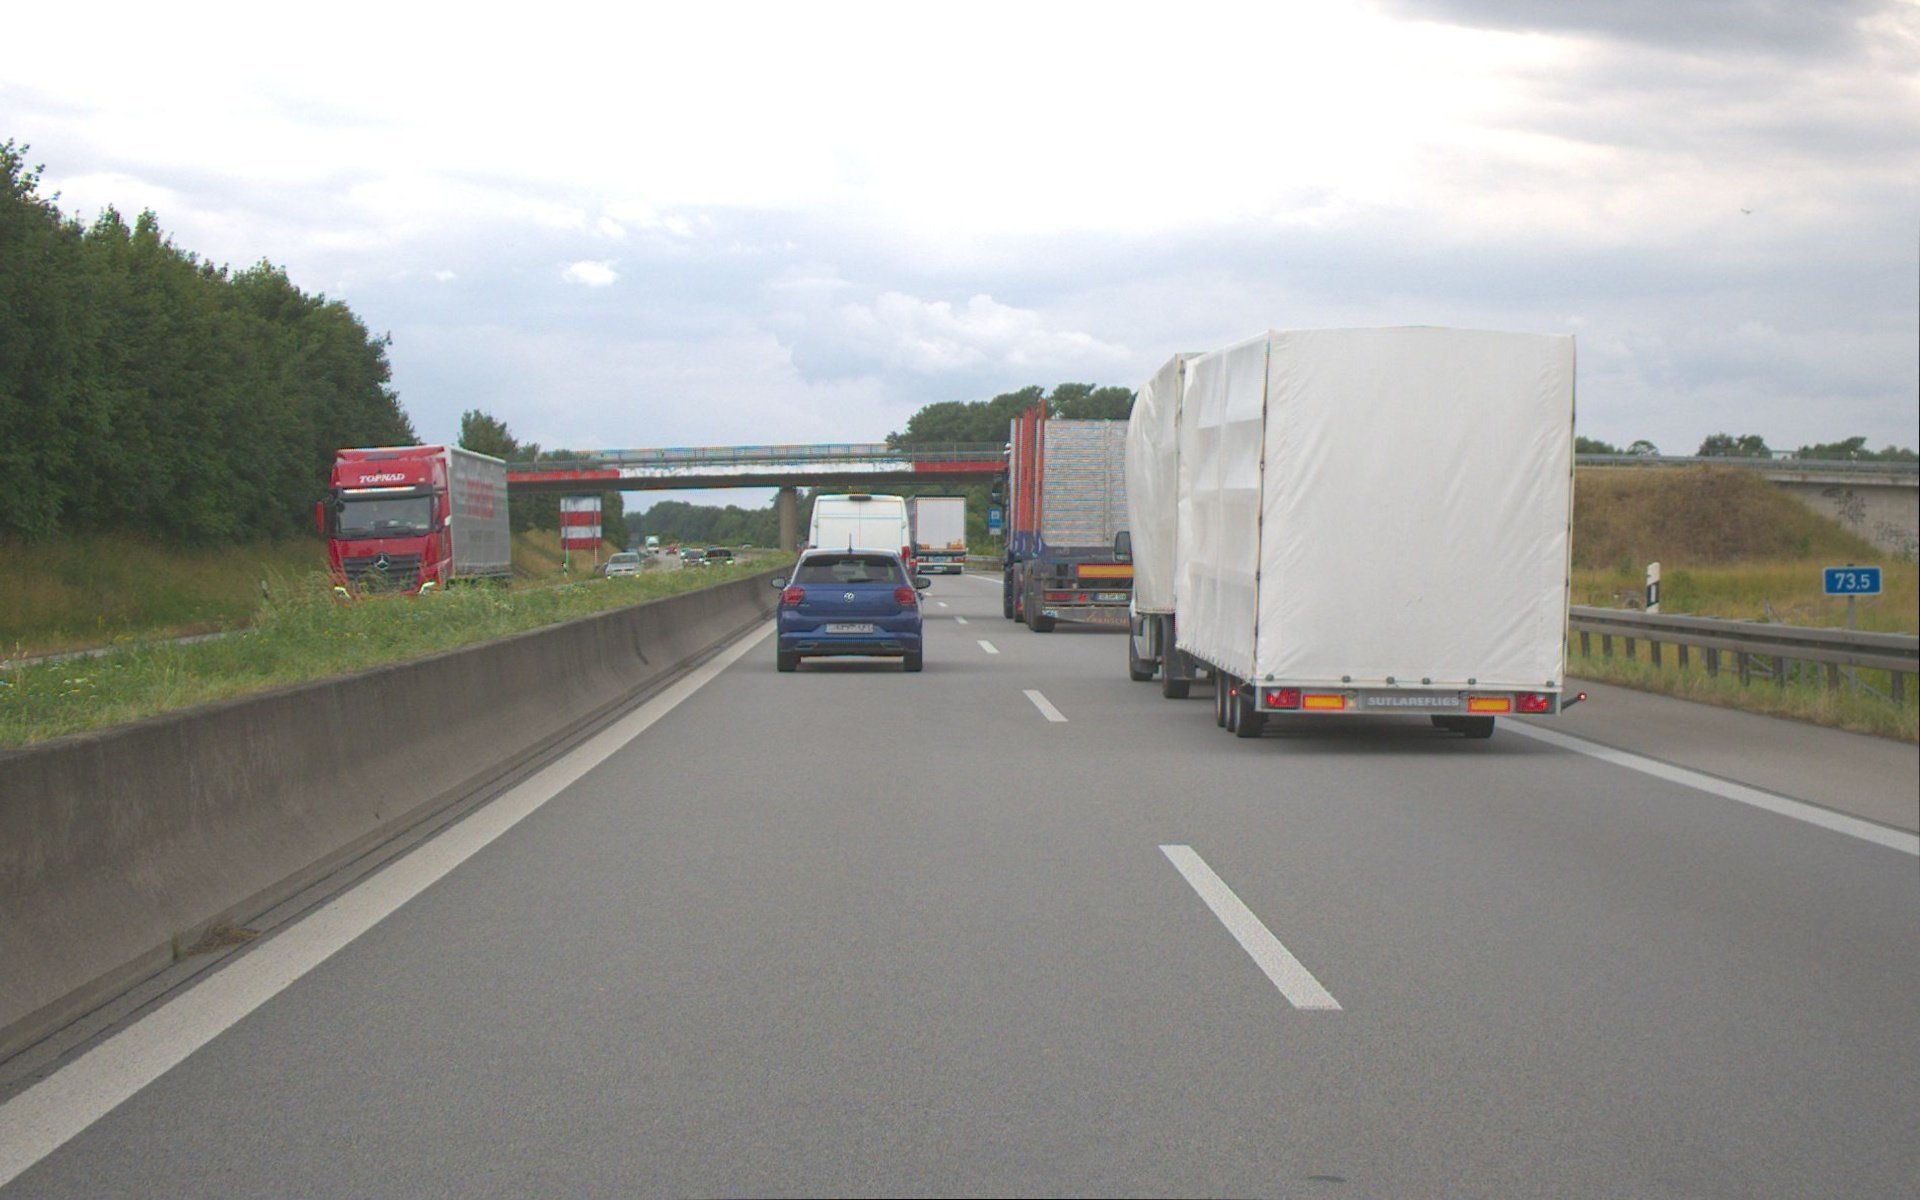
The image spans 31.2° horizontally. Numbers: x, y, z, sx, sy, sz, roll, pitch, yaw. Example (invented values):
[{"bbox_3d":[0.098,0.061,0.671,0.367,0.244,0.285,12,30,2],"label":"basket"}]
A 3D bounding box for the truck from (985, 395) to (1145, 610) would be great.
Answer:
[{"bbox_3d":[2.006,-1.918,67.688,2.673,4.031,5.513,-1,2,-3],"label":"truck"}]

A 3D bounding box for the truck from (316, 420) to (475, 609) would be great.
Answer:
[{"bbox_3d":[-12.860,-1.957,78.698,2.706,4.074,5.165,-3,1,-1],"label":"truck"}]

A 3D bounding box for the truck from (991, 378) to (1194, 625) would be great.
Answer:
[{"bbox_3d":[2.239,-1.770,62.294,2.673,4.031,11.109,-1,2,-3],"label":"truck"}]

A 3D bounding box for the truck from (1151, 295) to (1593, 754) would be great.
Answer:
[{"bbox_3d":[3.088,-0.594,27.667,2.415,3.211,7.144,0,1,-2],"label":"truck"}]

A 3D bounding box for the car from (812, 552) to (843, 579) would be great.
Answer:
[{"bbox_3d":[-8.464,-2.211,219.604,1.993,1.678,4.000,0,1,-2],"label":"car"}]

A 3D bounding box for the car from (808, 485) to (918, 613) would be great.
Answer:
[{"bbox_3d":[-1.991,-1.054,70.509,2.130,2.474,5.840,-1,1,-2],"label":"car"}]

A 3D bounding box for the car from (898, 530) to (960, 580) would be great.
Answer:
[{"bbox_3d":[-0.916,-1.315,99.205,1.663,1.402,3.649,0,1,-2],"label":"car"}]

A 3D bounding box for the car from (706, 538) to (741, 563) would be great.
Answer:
[{"bbox_3d":[-14.059,-2.975,204.633,1.848,1.373,4.601,-3,1,-2],"label":"car"}]

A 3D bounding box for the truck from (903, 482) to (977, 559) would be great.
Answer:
[{"bbox_3d":[-1.060,-4.034,176.039,3.110,3.677,9.324,-3,1,-3],"label":"truck"}]

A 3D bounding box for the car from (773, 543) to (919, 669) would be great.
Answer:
[{"bbox_3d":[-1.345,0.038,41.170,1.663,1.402,3.649,0,1,-1],"label":"car"}]

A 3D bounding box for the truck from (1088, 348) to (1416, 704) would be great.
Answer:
[{"bbox_3d":[2.793,-0.744,34.868,2.429,3.232,7.248,0,1,-2],"label":"truck"}]

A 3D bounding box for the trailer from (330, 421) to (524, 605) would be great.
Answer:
[{"bbox_3d":[-13.063,-2.181,85.620,2.706,4.074,14.599,-3,2,-1],"label":"trailer"}]

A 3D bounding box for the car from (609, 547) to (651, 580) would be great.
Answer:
[{"bbox_3d":[-15.343,-1.697,159.867,1.646,1.404,3.888,-3,1,-2],"label":"car"}]
